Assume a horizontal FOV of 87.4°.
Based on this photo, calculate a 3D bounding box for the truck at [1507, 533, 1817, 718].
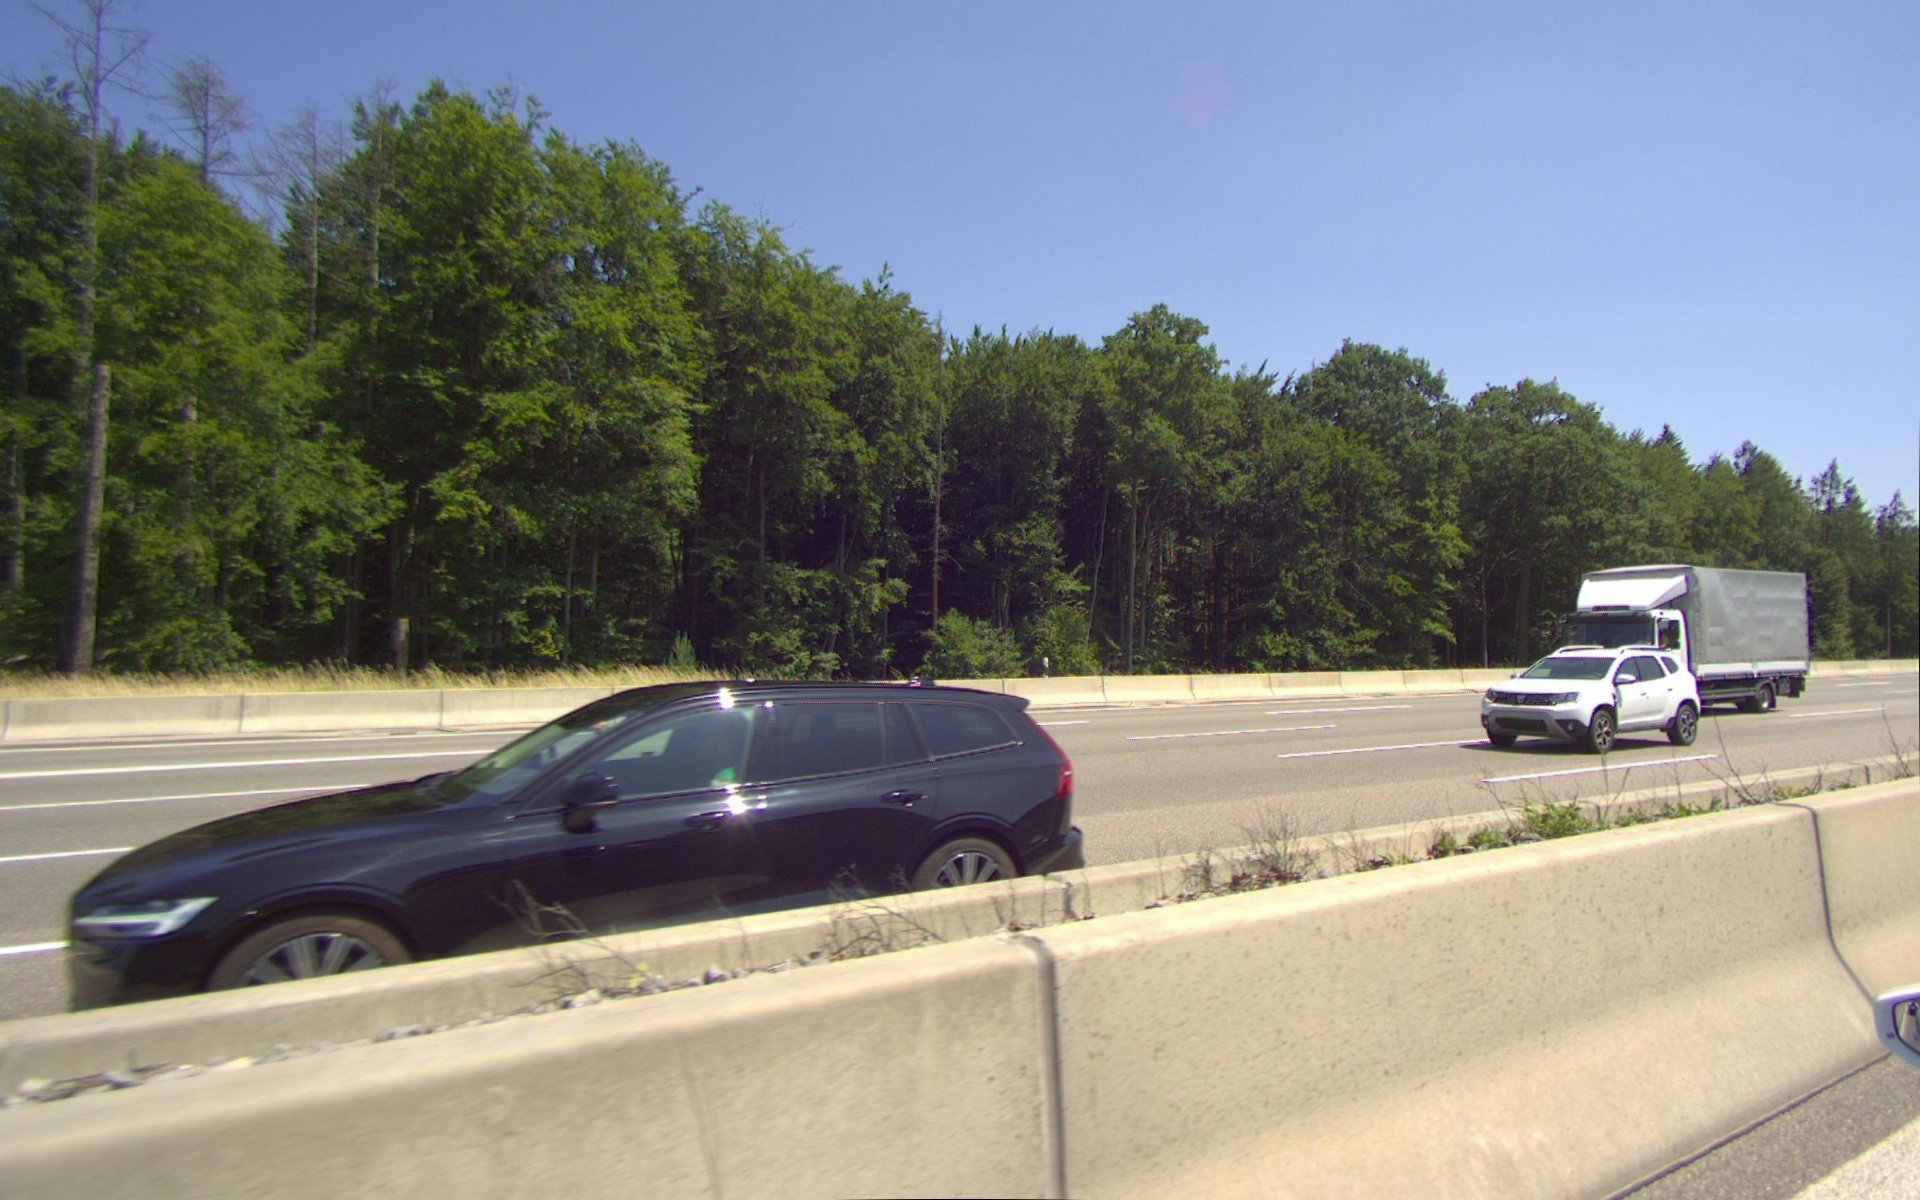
[{"bbox_3d":[18.129,0.709,25.705,9.357,4.065,2.845,2,-2,-30],"label":"truck"}]

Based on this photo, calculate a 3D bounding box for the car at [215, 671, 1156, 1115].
[{"bbox_3d":[-1.211,1.164,5.467,4.313,1.483,1.904,2,-3,-31],"label":"car"}]

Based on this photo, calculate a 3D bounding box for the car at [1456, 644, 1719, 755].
[{"bbox_3d":[10.833,1.601,17.277,4.634,1.683,1.904,1,-3,-31],"label":"car"}]
